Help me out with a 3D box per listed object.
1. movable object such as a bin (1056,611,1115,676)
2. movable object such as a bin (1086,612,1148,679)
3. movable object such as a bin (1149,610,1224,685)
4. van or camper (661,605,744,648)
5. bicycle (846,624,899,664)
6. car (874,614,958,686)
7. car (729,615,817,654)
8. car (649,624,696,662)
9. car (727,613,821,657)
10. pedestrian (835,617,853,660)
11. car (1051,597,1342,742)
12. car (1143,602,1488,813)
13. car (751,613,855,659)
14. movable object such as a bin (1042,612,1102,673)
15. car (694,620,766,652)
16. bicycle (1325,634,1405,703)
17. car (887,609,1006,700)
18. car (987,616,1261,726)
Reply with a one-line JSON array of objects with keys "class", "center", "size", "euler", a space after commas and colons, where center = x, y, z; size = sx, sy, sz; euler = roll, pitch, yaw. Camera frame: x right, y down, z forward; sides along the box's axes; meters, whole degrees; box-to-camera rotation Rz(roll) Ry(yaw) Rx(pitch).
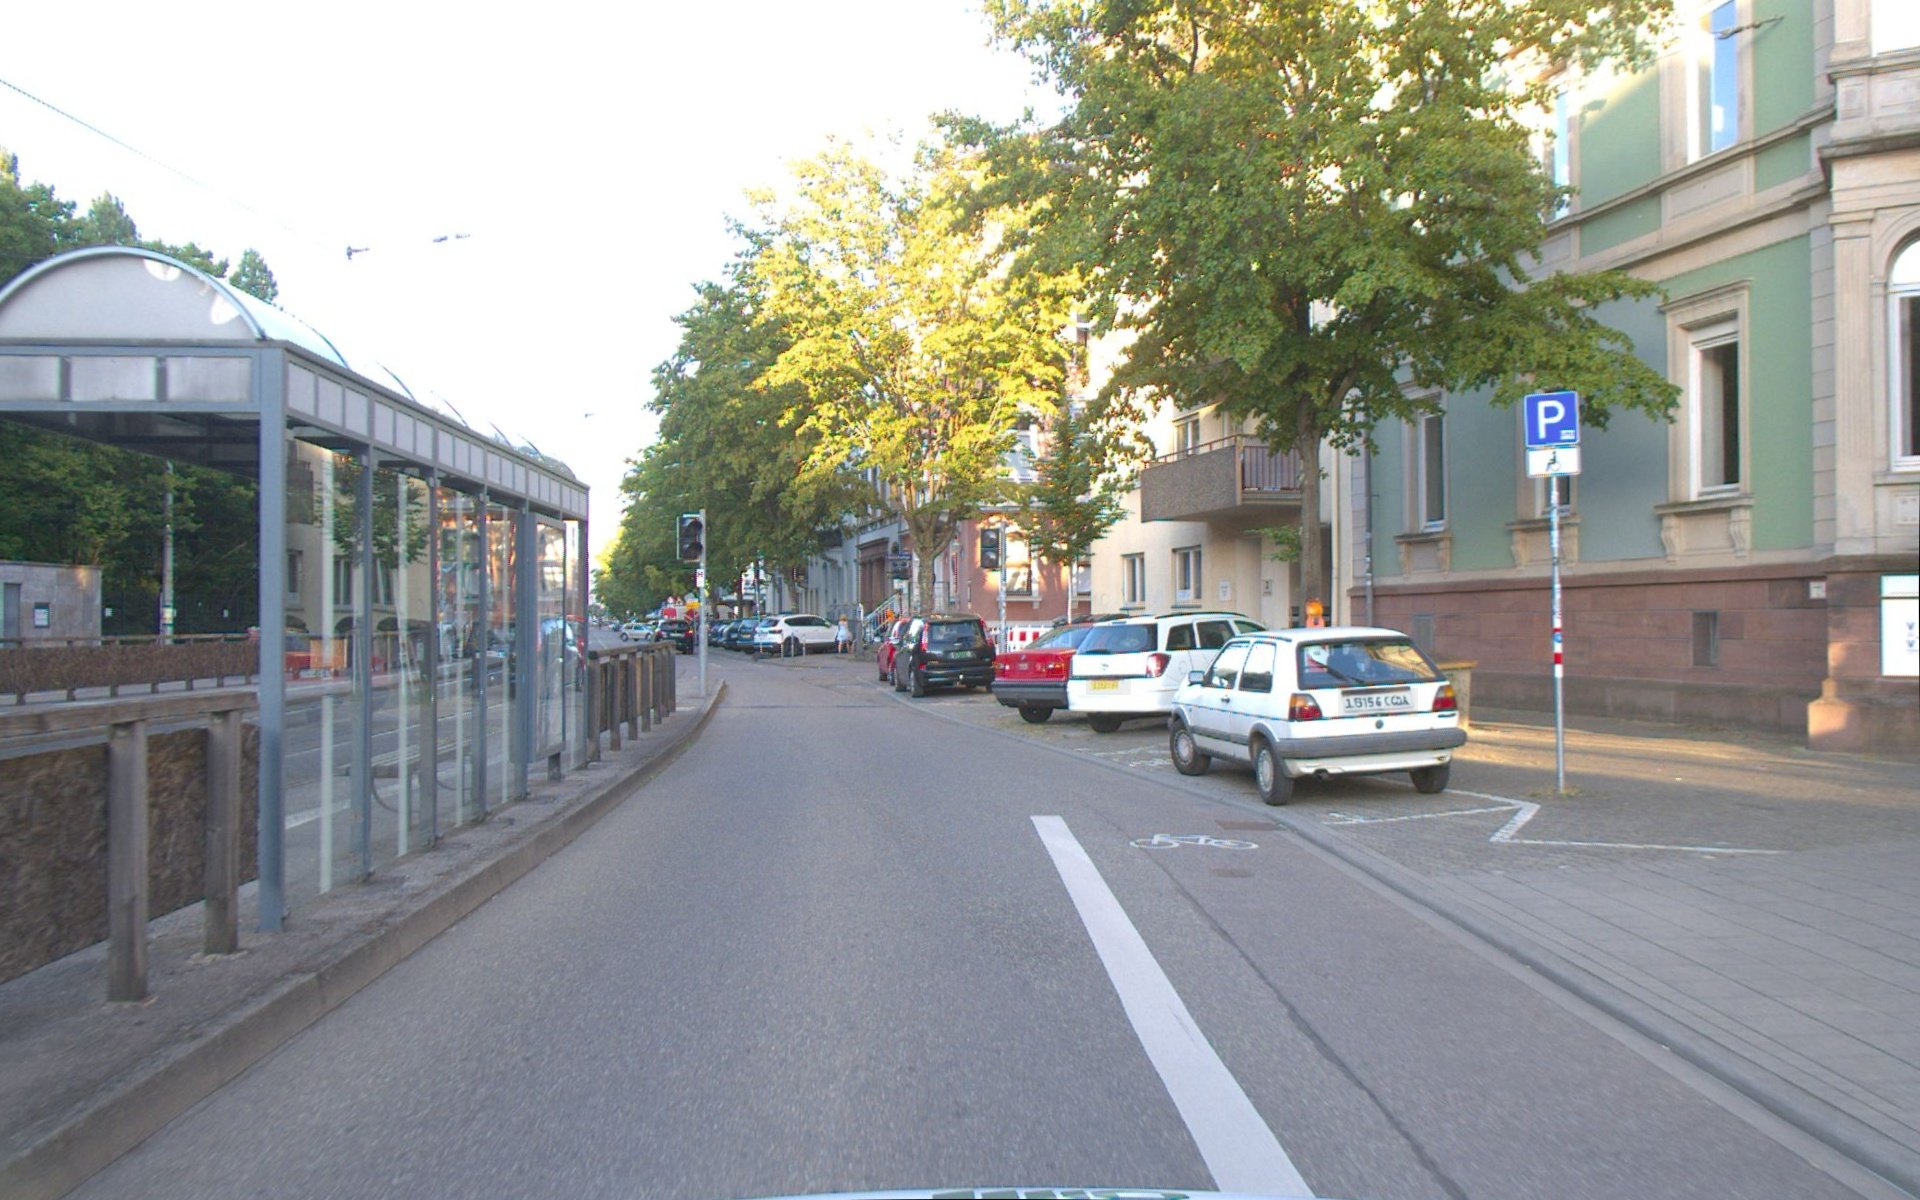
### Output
[{"class": "movable object such as a bin", "center": [3.021, 1.046, 39.979], "size": [1.054, 1.528, 1.313], "euler": [0, -1, -15]}, {"class": "movable object such as a bin", "center": [3.668, 1.062, 38.761], "size": [1.121, 1.528, 1.266], "euler": [0, -1, -14]}, {"class": "movable object such as a bin", "center": [4.698, 0.979, 34.447], "size": [1.094, 1.528, 1.477], "euler": [0, -1, -13]}, {"class": "van or camper", "center": [-17.584, 1.774, 113.210], "size": [2.049, 2.574, 5.517], "euler": [-4, 0, 42]}, {"class": "bicycle", "center": [-2.895, 1.465, 54.912], "size": [0.591, 1.288, 1.907], "euler": [-2, -1, 42]}, {"class": "car", "center": [-1.087, 1.172, 39.484], "size": [1.535, 1.563, 3.686], "euler": [-2, -1, -8]}, {"class": "car", "center": [-9.012, 1.645, 79.900], "size": [1.810, 1.631, 3.927], "euler": [-4, -1, 45]}, {"class": "car", "center": [-13.364, 1.977, 76.721], "size": [1.849, 1.648, 3.986], "euler": [2, -2, -13]}, {"class": "car", "center": [-8.261, 1.556, 73.652], "size": [1.866, 1.697, 3.935], "euler": [-4, -1, 40]}, {"class": "pedestrian", "center": [-4.439, 1.477, 63.294], "size": [0.576, 1.637, 0.622], "euler": [0, -1, -13]}, {"class": "car", "center": [3.225, 0.863, 22.024], "size": [4.178, 1.755, 1.694], "euler": [1, -1, -45]}, {"class": "car", "center": [3.097, 0.885, 15.283], "size": [1.650, 1.580, 3.990], "euler": [-3, 0, -11]}, {"class": "car", "center": [-6.249, 1.423, 66.108], "size": [3.925, 1.655, 1.647], "euler": [-3, 1, -44]}, {"class": "movable object such as a bin", "center": [2.842, 1.080, 42.171], "size": [1.121, 1.528, 1.592], "euler": [0, -1, -13]}, {"class": "car", "center": [-14.121, 2.206, 101.695], "size": [3.919, 1.631, 1.814], "euler": [-5, 0, -40]}, {"class": "bicycle", "center": [6.621, 1.109, 27.110], "size": [0.639, 1.093, 1.550], "euler": [0, -1, -13]}, {"class": "car", "center": [-0.339, 1.068, 33.487], "size": [1.712, 1.660, 4.078], "euler": [-2, -1, -10]}, {"class": "car", "center": [2.480, 0.992, 24.385], "size": [4.172, 1.479, 1.621], "euler": [1, -1, -41]}]
